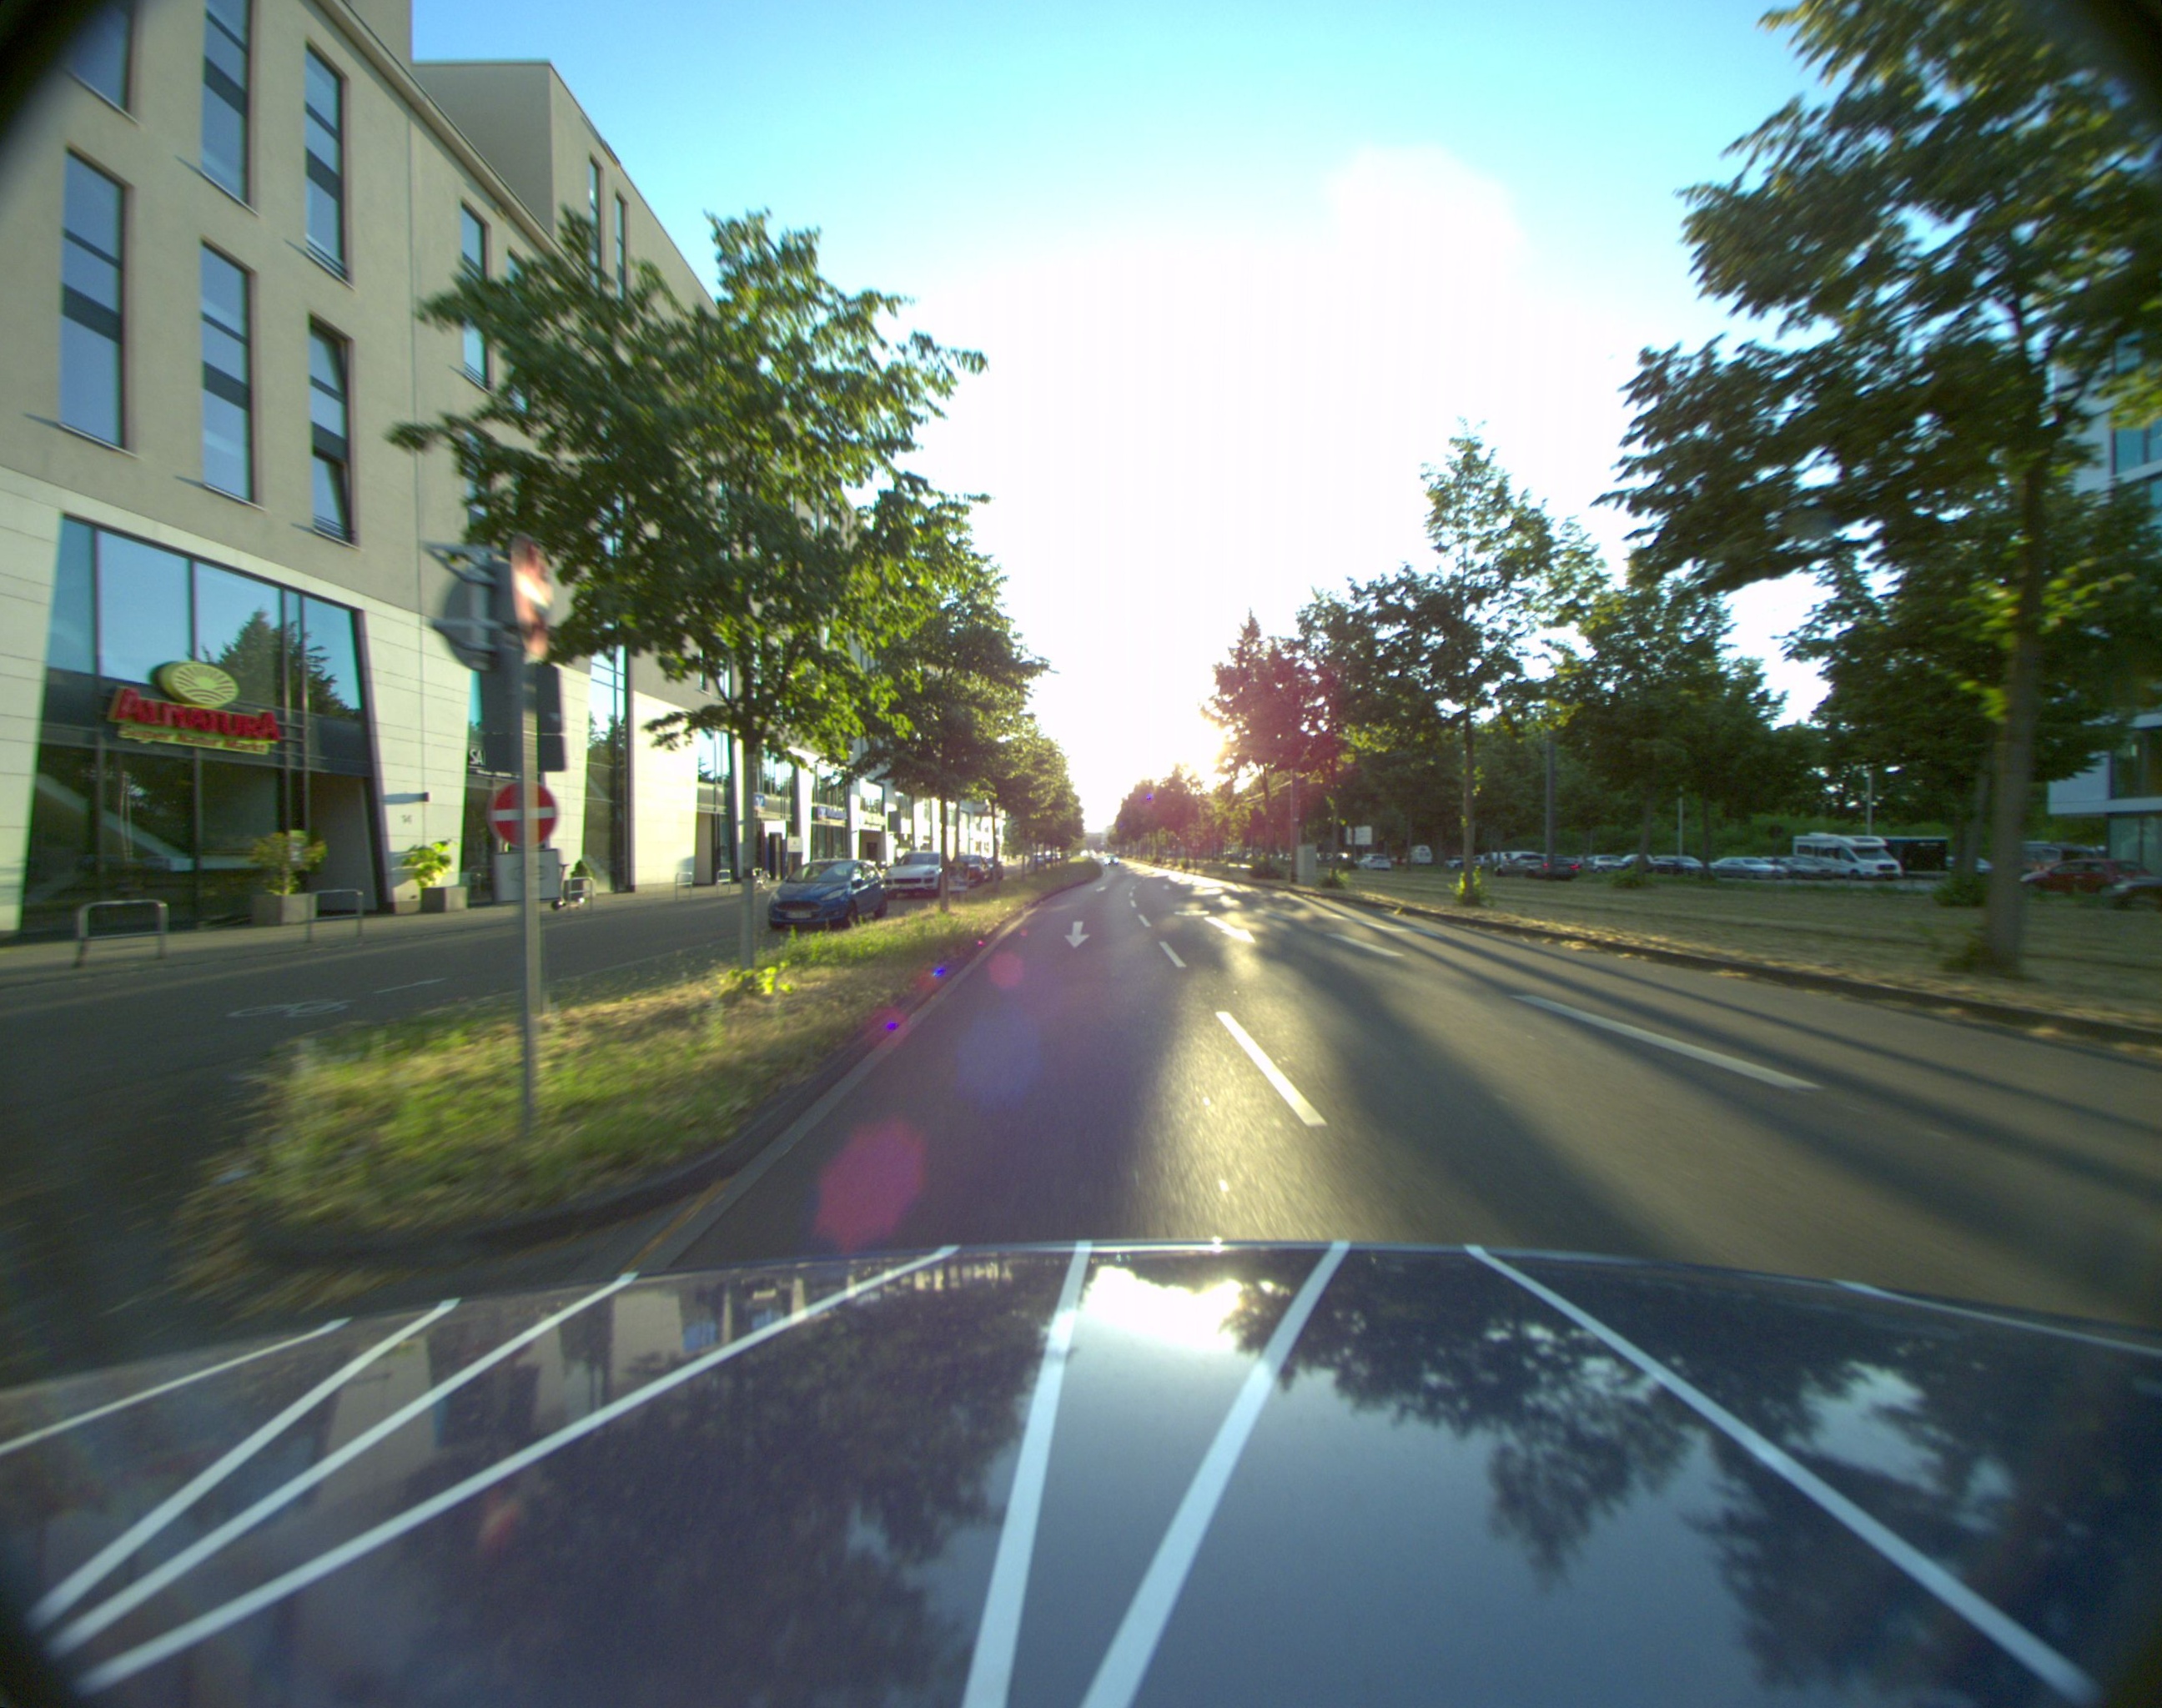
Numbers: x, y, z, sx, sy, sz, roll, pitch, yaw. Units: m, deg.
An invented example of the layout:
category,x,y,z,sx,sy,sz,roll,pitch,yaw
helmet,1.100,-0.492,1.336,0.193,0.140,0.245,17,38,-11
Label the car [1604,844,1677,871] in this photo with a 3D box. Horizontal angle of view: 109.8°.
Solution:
category,x,y,z,sx,sy,sz,roll,pitch,yaw
car,41.905,0.270,56.948,3.998,2.002,1.999,0,1,-3

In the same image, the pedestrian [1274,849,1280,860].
category,x,y,z,sx,sy,sz,roll,pitch,yaw
pedestrian,32.577,0.050,126.346,0.695,1.859,0.865,0,1,-6

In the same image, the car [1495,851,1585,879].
category,x,y,z,sx,sy,sz,roll,pitch,yaw
car,23.275,0.532,38.773,1.661,1.324,4.741,0,0,-1

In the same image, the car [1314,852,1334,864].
category,x,y,z,sx,sy,sz,roll,pitch,yaw
car,35.256,0.540,110.408,1.997,1.740,4.162,0,0,6

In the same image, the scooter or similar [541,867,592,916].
category,x,y,z,sx,sy,sz,roll,pitch,yaw
scooter or similar,-13.220,0.948,19.558,0.357,1.180,1.310,1,0,2

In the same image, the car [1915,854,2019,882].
category,x,y,z,sx,sy,sz,roll,pitch,yaw
car,54.633,0.835,46.957,1.920,1.630,4.001,0,0,4

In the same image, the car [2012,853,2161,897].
category,x,y,z,sx,sy,sz,roll,pitch,yaw
car,39.371,0.771,29.654,1.864,1.572,3.492,-1,0,2

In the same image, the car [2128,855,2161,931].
category,x,y,z,sx,sy,sz,roll,pitch,yaw
car,22.777,0.786,14.008,1.807,1.538,3.727,-1,0,-1

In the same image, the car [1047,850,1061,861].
category,x,y,z,sx,sy,sz,roll,pitch,yaw
car,-4.335,0.239,120.712,1.958,1.614,4.820,-2,0,0

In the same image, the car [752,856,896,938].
category,x,y,z,sx,sy,sz,roll,pitch,yaw
car,-5.575,0.859,17.098,1.728,1.521,4.268,-2,0,0

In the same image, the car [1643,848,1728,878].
category,x,y,z,sx,sy,sz,roll,pitch,yaw
car,41.957,0.599,52.923,1.998,2.002,4.931,0,0,0

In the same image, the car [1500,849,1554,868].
category,x,y,z,sx,sy,sz,roll,pitch,yaw
car,42.690,0.428,72.750,3.997,1.834,2.012,0,0,1

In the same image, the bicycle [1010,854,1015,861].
category,x,y,z,sx,sy,sz,roll,pitch,yaw
bicycle,-11.052,0.528,121.789,0.621,1.027,2.261,0,0,-1

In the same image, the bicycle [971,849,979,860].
category,x,y,z,sx,sy,sz,roll,pitch,yaw
bicycle,-11.810,0.058,84.466,0.539,1.157,1.781,2,0,1

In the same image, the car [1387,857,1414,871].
category,x,y,z,sx,sy,sz,roll,pitch,yaw
car,42.445,1.285,101.002,1.998,1.740,4.000,0,0,0

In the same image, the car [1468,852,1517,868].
category,x,y,z,sx,sy,sz,roll,pitch,yaw
car,42.754,0.593,78.980,3.998,1.630,1.921,0,0,-3

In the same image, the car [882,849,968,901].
category,x,y,z,sx,sy,sz,roll,pitch,yaw
car,-5.737,0.702,28.598,1.956,1.704,5.159,-2,0,2

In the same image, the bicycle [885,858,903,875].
category,x,y,z,sx,sy,sz,roll,pitch,yaw
bicycle,-12.278,0.800,49.913,0.654,1.033,2.055,0,0,1

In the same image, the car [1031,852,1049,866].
category,x,y,z,sx,sy,sz,roll,pitch,yaw
car,-4.592,0.529,86.116,1.813,1.492,4.825,0,0,0

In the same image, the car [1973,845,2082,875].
category,x,y,z,sx,sy,sz,roll,pitch,yaw
car,58.904,0.365,47.399,1.920,1.800,4.001,0,0,4

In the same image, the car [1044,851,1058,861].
category,x,y,z,sx,sy,sz,roll,pitch,yaw
car,-4.470,0.319,113.164,1.728,1.492,4.232,-1,0,1

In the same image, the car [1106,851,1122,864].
category,x,y,z,sx,sy,sz,roll,pitch,yaw
car,4.270,0.448,97.766,1.828,1.625,4.000,0,0,0

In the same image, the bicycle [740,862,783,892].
category,x,y,z,sx,sy,sz,roll,pitch,yaw
bicycle,-12.368,0.861,29.454,0.571,1.118,1.835,2,0,12

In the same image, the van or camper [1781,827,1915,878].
category,x,y,z,sx,sy,sz,roll,pitch,yaw
van or camper,49.583,-0.088,49.386,2.716,3.067,6.264,-1,0,4

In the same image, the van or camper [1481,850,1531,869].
category,x,y,z,sx,sy,sz,roll,pitch,yaw
van or camper,42.371,0.530,75.843,4.000,1.780,1.998,0,0,-9

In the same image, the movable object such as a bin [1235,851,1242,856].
category,x,y,z,sx,sy,sz,roll,pitch,yaw
movable object such as a bin,39.578,-0.114,190.825,1.556,1.364,1.724,0,0,2

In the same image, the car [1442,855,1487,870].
category,x,y,z,sx,sy,sz,roll,pitch,yaw
car,42.521,0.942,84.347,3.996,1.630,1.922,0,0,2

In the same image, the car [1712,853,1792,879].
category,x,y,z,sx,sy,sz,roll,pitch,yaw
car,44.282,0.749,50.242,1.920,1.630,4.001,0,0,4

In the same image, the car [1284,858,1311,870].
category,x,y,z,sx,sy,sz,roll,pitch,yaw
car,24.293,1.116,85.392,1.661,1.324,4.473,0,0,-1

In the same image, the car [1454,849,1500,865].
category,x,y,z,sx,sy,sz,roll,pitch,yaw
car,42.231,0.288,81.084,3.998,1.630,1.921,0,0,-3

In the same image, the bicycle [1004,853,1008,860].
category,x,y,z,sx,sy,sz,roll,pitch,yaw
bicycle,-11.552,0.441,116.650,0.534,1.053,1.611,0,0,-5

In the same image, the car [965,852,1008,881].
category,x,y,z,sx,sy,sz,roll,pitch,yaw
car,-5.309,0.677,43.126,1.949,1.540,4.811,0,0,-1

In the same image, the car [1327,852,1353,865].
category,x,y,z,sx,sy,sz,roll,pitch,yaw
car,35.563,0.628,104.568,1.998,1.740,4.790,0,0,0

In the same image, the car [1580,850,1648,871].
category,x,y,z,sx,sy,sz,roll,pitch,yaw
car,41.548,0.504,59.323,3.998,1.630,1.921,0,0,-3

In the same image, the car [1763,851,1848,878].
category,x,y,z,sx,sy,sz,roll,pitch,yaw
car,47.006,0.654,49.431,1.920,1.630,4.001,0,0,4

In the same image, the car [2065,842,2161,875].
category,x,y,z,sx,sy,sz,roll,pitch,yaw
car,61.402,0.247,44.702,1.920,1.800,4.001,0,0,4

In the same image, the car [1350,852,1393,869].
category,x,y,z,sx,sy,sz,roll,pitch,yaw
car,23.294,0.472,61.125,1.661,1.324,4.529,0,0,-1

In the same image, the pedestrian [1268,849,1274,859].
category,x,y,z,sx,sy,sz,roll,pitch,yaw
pedestrian,31.899,-0.001,127.523,0.695,1.733,0.866,0,1,-1

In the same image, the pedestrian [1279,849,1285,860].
category,x,y,z,sx,sy,sz,roll,pitch,yaw
pedestrian,33.524,0.079,126.753,0.695,1.748,0.865,0,1,-7

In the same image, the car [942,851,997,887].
category,x,y,z,sx,sy,sz,roll,pitch,yaw
car,-5.180,0.664,35.885,1.859,1.521,4.482,-2,0,0

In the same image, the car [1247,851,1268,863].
category,x,y,z,sx,sy,sz,roll,pitch,yaw
car,24.243,0.434,104.387,1.890,1.569,4.181,0,0,-1

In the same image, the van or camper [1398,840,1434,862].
category,x,y,z,sx,sy,sz,roll,pitch,yaw
van or camper,42.265,-0.366,95.955,2.090,2.719,5.494,0,0,-1
